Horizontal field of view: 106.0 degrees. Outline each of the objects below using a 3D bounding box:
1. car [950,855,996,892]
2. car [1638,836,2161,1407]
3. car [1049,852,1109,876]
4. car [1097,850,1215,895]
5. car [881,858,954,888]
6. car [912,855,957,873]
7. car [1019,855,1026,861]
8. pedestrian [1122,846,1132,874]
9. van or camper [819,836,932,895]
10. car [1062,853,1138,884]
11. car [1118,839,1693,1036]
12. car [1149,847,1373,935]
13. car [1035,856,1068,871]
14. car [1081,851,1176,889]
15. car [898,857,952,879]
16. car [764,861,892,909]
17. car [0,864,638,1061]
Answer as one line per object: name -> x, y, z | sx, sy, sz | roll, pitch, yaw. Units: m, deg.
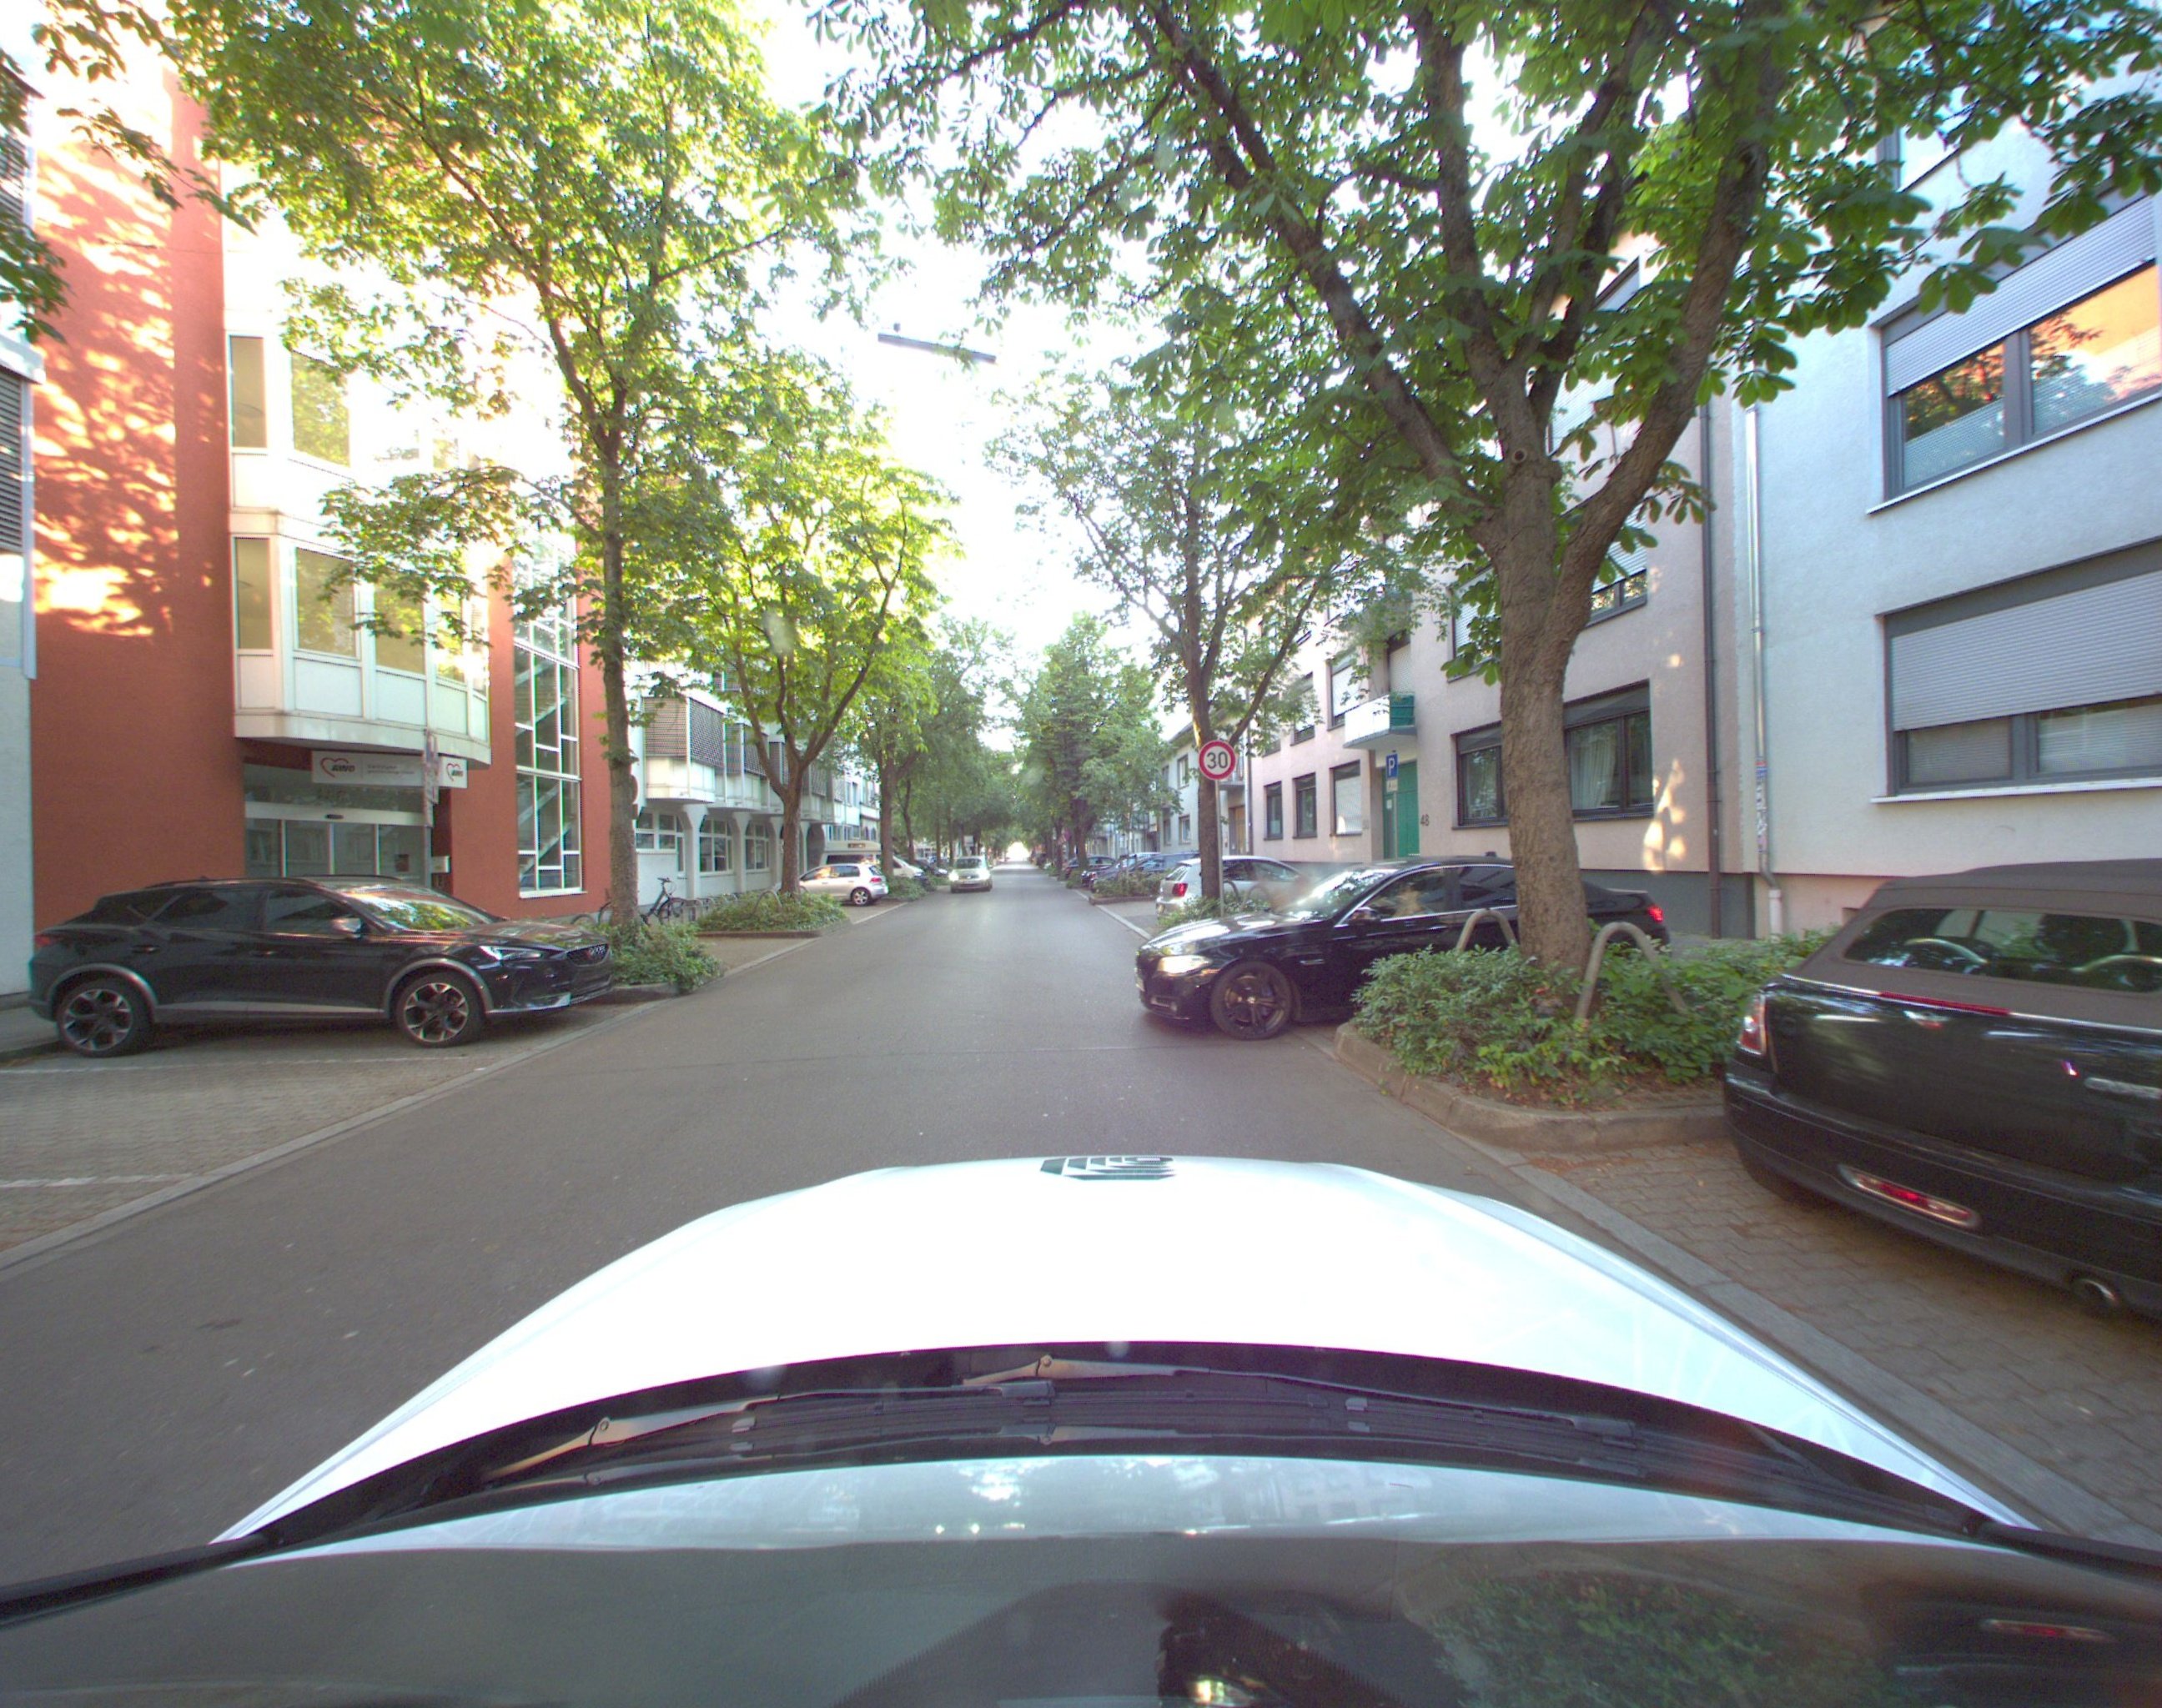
car -> -4.904, 0.836, 37.570 | 1.775, 1.562, 4.163 | -2, 0, -4
car -> 4.320, 0.622, 2.961 | 3.608, 1.363, 1.660 | -2, 0, -8
car -> -0.169, 0.695, 56.683 | 3.963, 1.527, 1.781 | -2, 0, -6
car -> 2.651, 0.644, 29.438 | 3.963, 1.476, 1.781 | -2, 0, -7
car -> -9.593, 1.080, 48.122 | 3.960, 1.619, 1.783 | -2, 0, -4
car -> -13.705, 0.931, 76.320 | 3.959, 1.619, 1.783 | -2, 0, -4
car -> -15.998, 1.116, 221.938 | 1.819, 1.531, 3.995 | -1, 0, -4
pedestrian -> 3.432, 0.453, 60.495 | 0.587, 2.013, 0.669 | -2, 0, -3
van or camper -> -9.299, 0.512, 37.119 | 4.656, 2.478, 1.997 | -2, 0, -5
car -> 1.016, 0.768, 44.778 | 3.962, 1.527, 1.782 | -2, 0, -5
car -> 2.814, 0.672, 7.684 | 4.737, 1.480, 1.797 | -2, 0, -5
car -> 3.408, 0.675, 15.811 | 3.904, 1.476, 1.661 | -2, 0, -7
car -> -3.693, 1.130, 100.751 | 3.959, 1.684, 1.783 | -2, 0, -4
car -> 2.069, 0.683, 35.936 | 3.962, 1.527, 1.782 | -2, 0, -5
car -> -12.386, 1.121, 64.670 | 3.959, 1.619, 1.783 | -2, 0, -4
car -> -8.858, 1.074, 28.785 | 3.960, 1.517, 1.783 | -2, 0, -4
car -> -7.047, 0.933, 7.972 | 4.347, 1.517, 1.782 | -2, 0, -5
